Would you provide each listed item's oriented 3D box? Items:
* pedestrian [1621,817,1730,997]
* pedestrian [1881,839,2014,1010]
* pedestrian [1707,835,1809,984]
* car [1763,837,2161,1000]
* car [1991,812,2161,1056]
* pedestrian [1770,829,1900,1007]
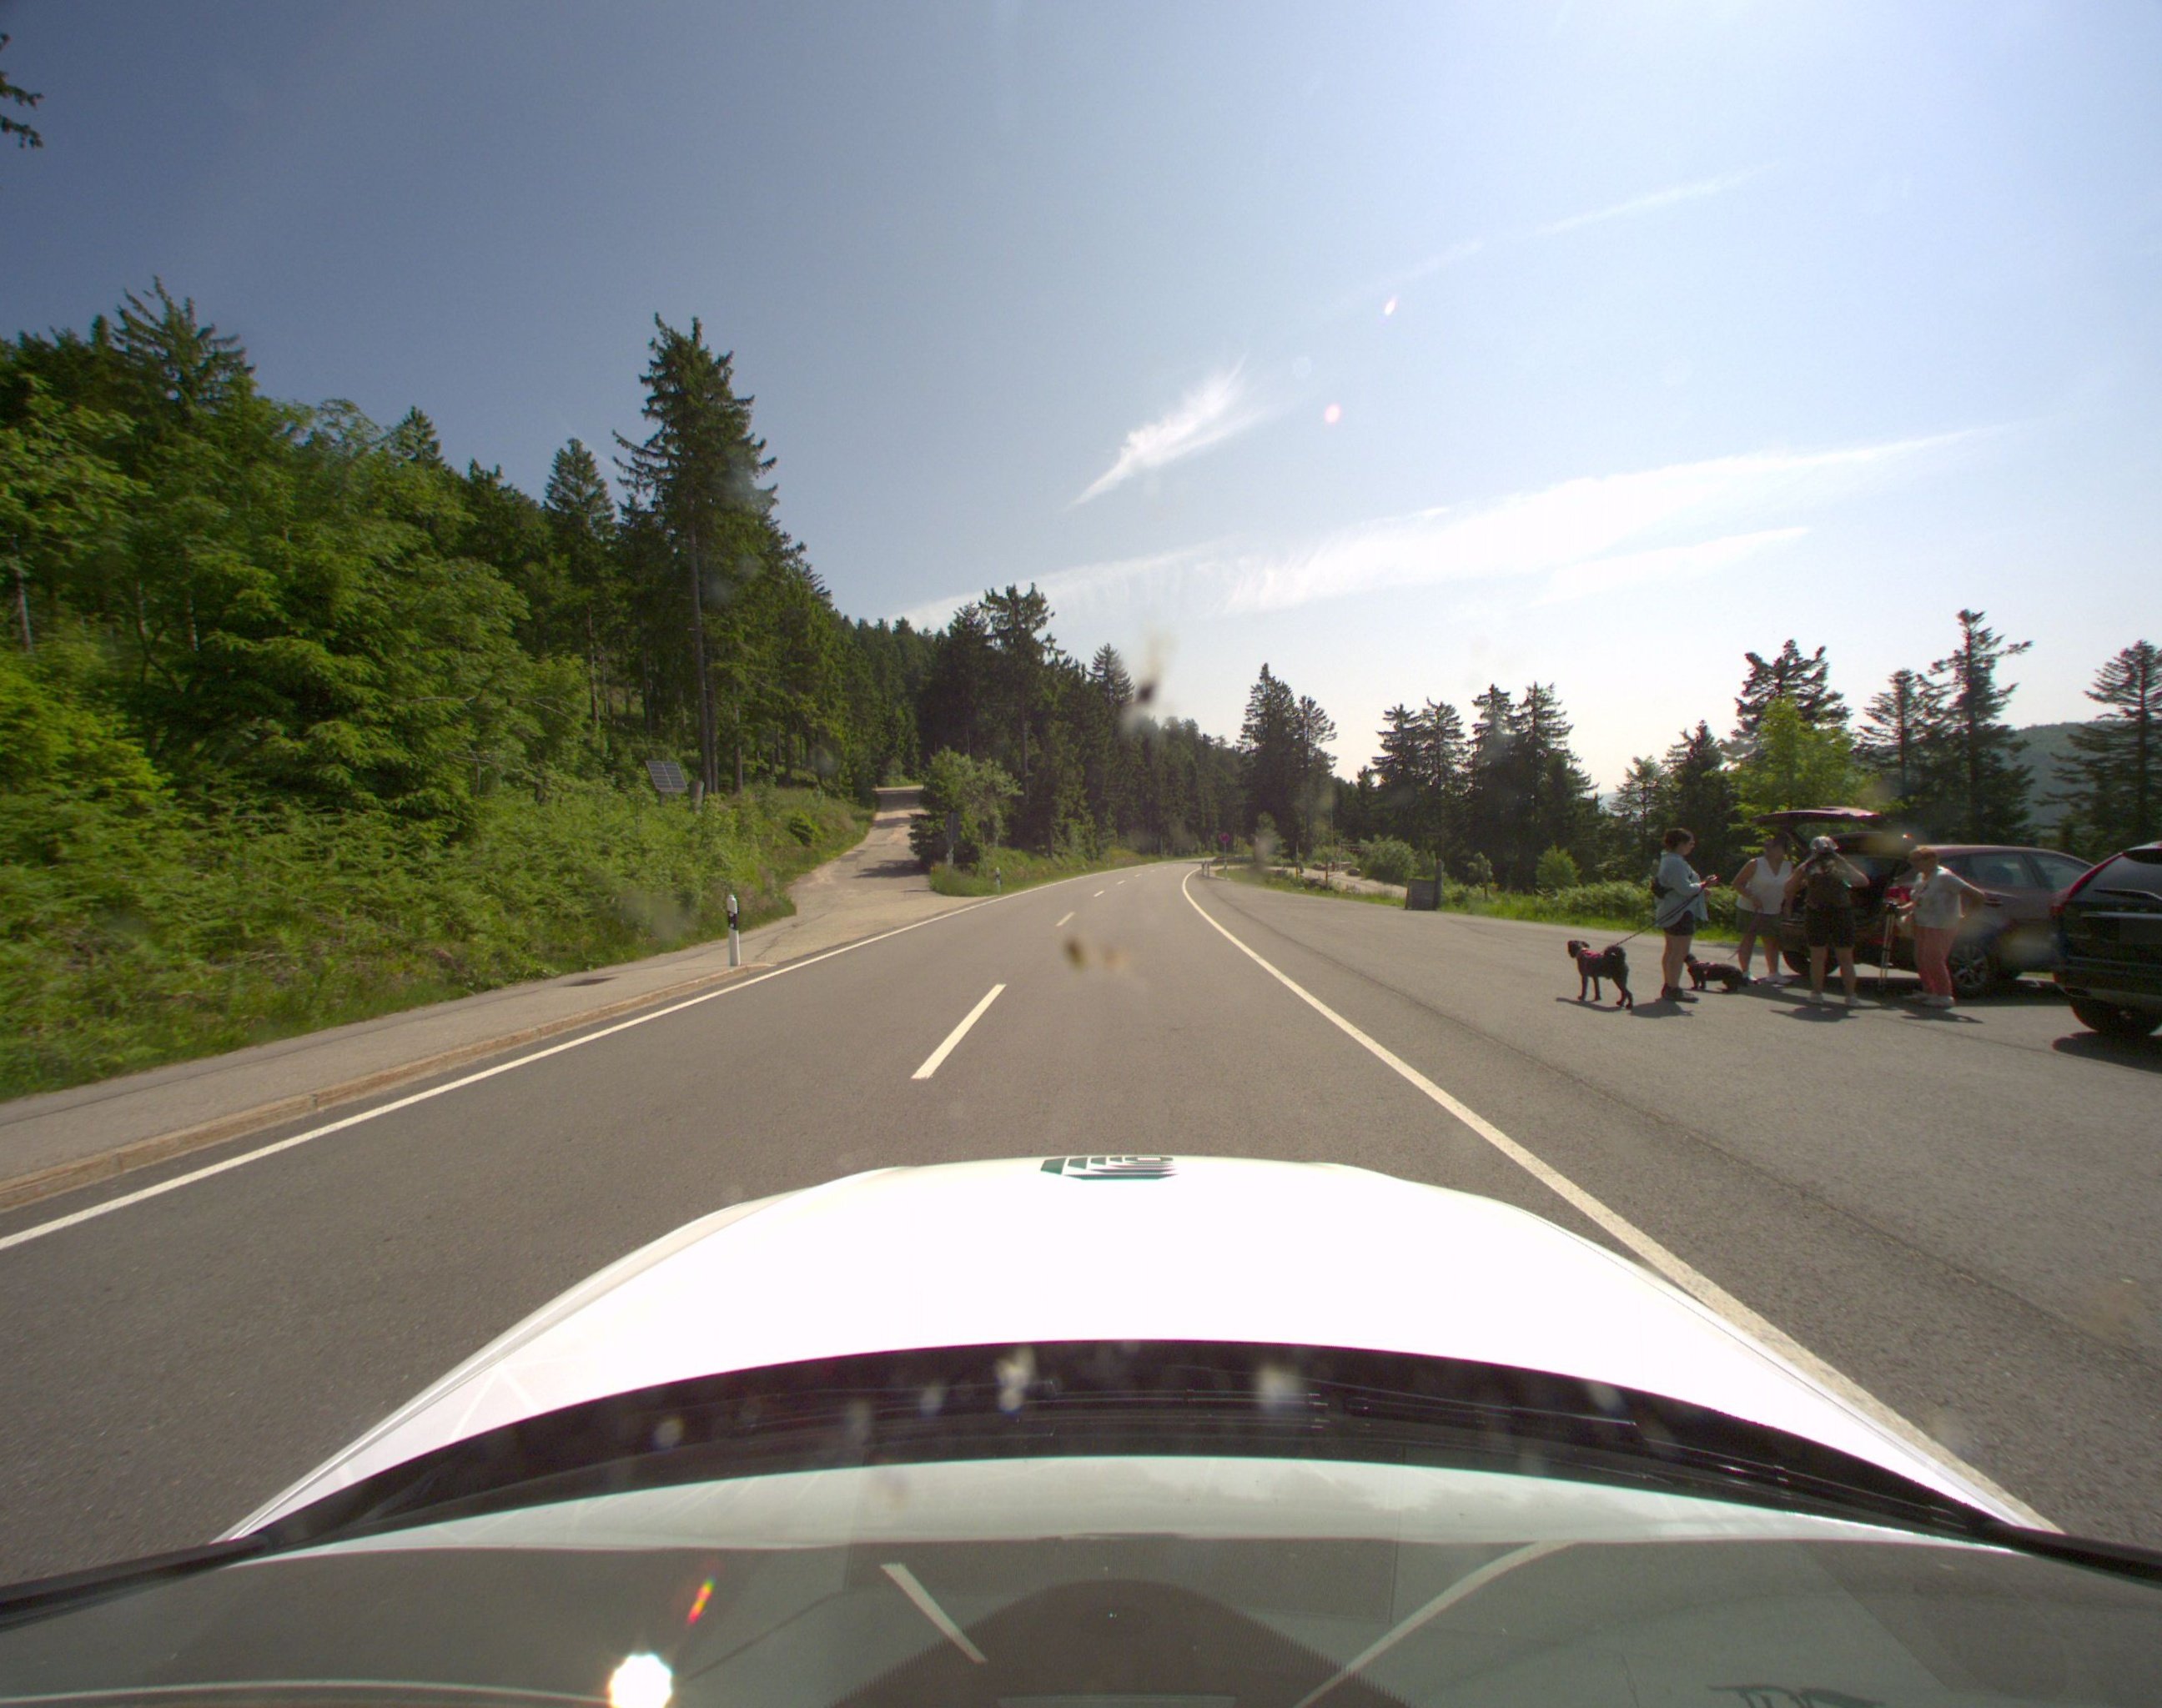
[{"bbox_3d":[6.122,0.523,8.424,0.614,1.775,0.725,-1,0,6],"label":"pedestrian"},{"bbox_3d":[8.540,0.666,8.057,0.612,1.587,0.739,-2,2,18],"label":"pedestrian"},{"bbox_3d":[7.867,0.622,9.489,0.648,1.660,0.690,-2,1,12],"label":"pedestrian"},{"bbox_3d":[10.334,0.684,9.366,3.812,1.660,1.649,1,0,-6],"label":"car"},{"bbox_3d":[10.061,0.559,6.276,4.257,1.793,1.889,-1,2,-5],"label":"car"},{"bbox_3d":[7.462,0.610,8.089,0.712,1.692,0.620,-1,0,5],"label":"pedestrian"}]
